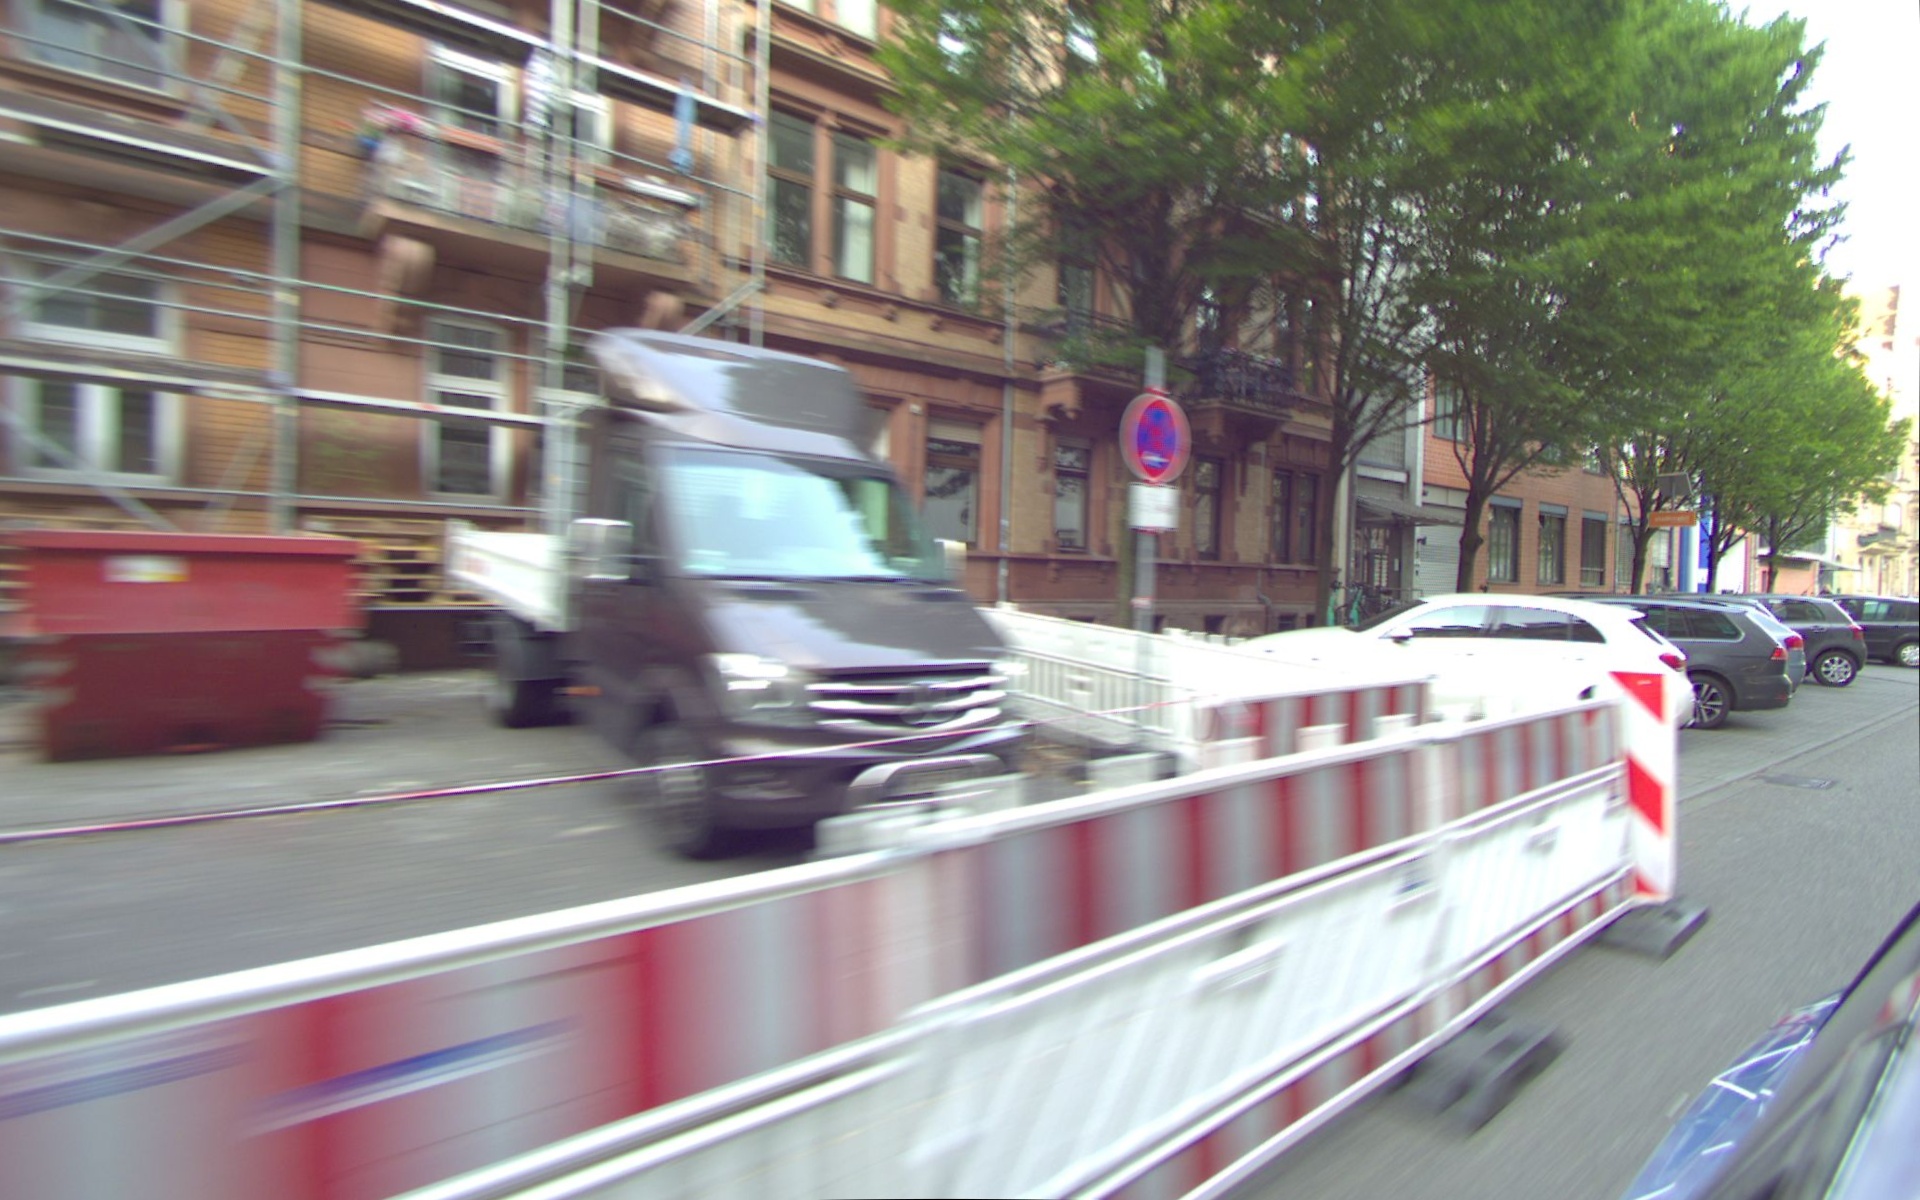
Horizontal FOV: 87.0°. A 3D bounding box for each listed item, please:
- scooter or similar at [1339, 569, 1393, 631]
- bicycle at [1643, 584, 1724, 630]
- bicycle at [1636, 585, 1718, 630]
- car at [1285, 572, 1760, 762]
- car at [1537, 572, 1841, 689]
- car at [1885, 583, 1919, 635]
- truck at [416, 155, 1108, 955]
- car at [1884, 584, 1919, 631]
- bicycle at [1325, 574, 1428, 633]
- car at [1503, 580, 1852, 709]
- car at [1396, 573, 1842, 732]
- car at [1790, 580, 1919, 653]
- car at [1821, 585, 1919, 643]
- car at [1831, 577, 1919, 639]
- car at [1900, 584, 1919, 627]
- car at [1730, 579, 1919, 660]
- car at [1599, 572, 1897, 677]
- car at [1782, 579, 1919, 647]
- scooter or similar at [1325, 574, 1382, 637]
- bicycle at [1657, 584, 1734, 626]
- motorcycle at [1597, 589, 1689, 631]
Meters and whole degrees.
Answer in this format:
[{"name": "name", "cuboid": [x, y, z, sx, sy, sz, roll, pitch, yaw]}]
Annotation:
[{"name": "scooter or similar", "cuboid": [8.682, -0.011, 21.650, 1.044, 1.297, 0.330, -1, 0, -9]}, {"name": "bicycle", "cuboid": [20.919, 0.185, 29.281, 1.766, 1.113, 0.537, 8, 6, 45]}, {"name": "bicycle", "cuboid": [20.459, 0.200, 28.906, 1.766, 1.113, 0.537, 8, 6, 45]}, {"name": "car", "cuboid": [5.500, 0.564, 10.499, 3.942, 1.506, 1.676, 3, 3, 18]}, {"name": "car", "cuboid": [11.444, 0.401, 16.205, 3.593, 1.536, 1.612, 4, 3, 24]}, {"name": "car", "cuboid": [31.619, 0.359, 31.437, 3.786, 1.536, 1.668, 3, 4, 19]}, {"name": "truck", "cuboid": [-2.094, -0.214, 7.323, 2.477, 3.115, 6.501, -1, 1, -35]}, {"name": "car", "cuboid": [34.949, 0.350, 35.127, 3.793, 1.536, 1.666, 4, 4, 23]}, {"name": "bicycle", "cuboid": [9.324, 0.057, 22.713, 2.010, 1.179, 0.573, 5, 3, 34]}, {"name": "car", "cuboid": [9.921, 0.545, 14.361, 3.587, 1.438, 1.820, 3, 3, 20]}, {"name": "car", "cuboid": [7.742, 0.535, 12.391, 4.112, 1.506, 1.823, 3, 3, 16]}, {"name": "car", "cuboid": [23.081, 0.425, 24.789, 3.790, 1.584, 1.667, 4, 4, 22]}, {"name": "car", "cuboid": [26.784, 0.425, 28.220, 3.790, 1.447, 1.666, 4, 4, 22]}, {"name": "car", "cuboid": [28.716, 0.285, 30.124, 3.794, 1.668, 1.665, 4, 4, 24]}, {"name": "car", "cuboid": [37.078, 0.307, 36.910, 3.813, 1.536, 1.657, 5, 4, 36]}, {"name": "car", "cuboid": [20.559, 0.416, 23.645, 3.804, 1.584, 1.661, 4, 4, 30]}, {"name": "car", "cuboid": [13.831, 0.367, 18.026, 3.752, 1.536, 1.640, 3, 3, 19]}, {"name": "car", "cuboid": [24.647, 0.359, 26.984, 3.790, 1.584, 1.666, 4, 4, 22]}, {"name": "scooter or similar", "cuboid": [8.144, 0.109, 20.978, 1.045, 1.297, 0.330, 0, 0, -1]}, {"name": "bicycle", "cuboid": [22.532, 0.138, 31.042, 1.766, 1.113, 0.537, 8, 6, 45]}, {"name": "motorcycle", "cuboid": [18.318, 0.255, 27.192, 0.578, 0.937, 1.993, 1, 4, -25]}]
